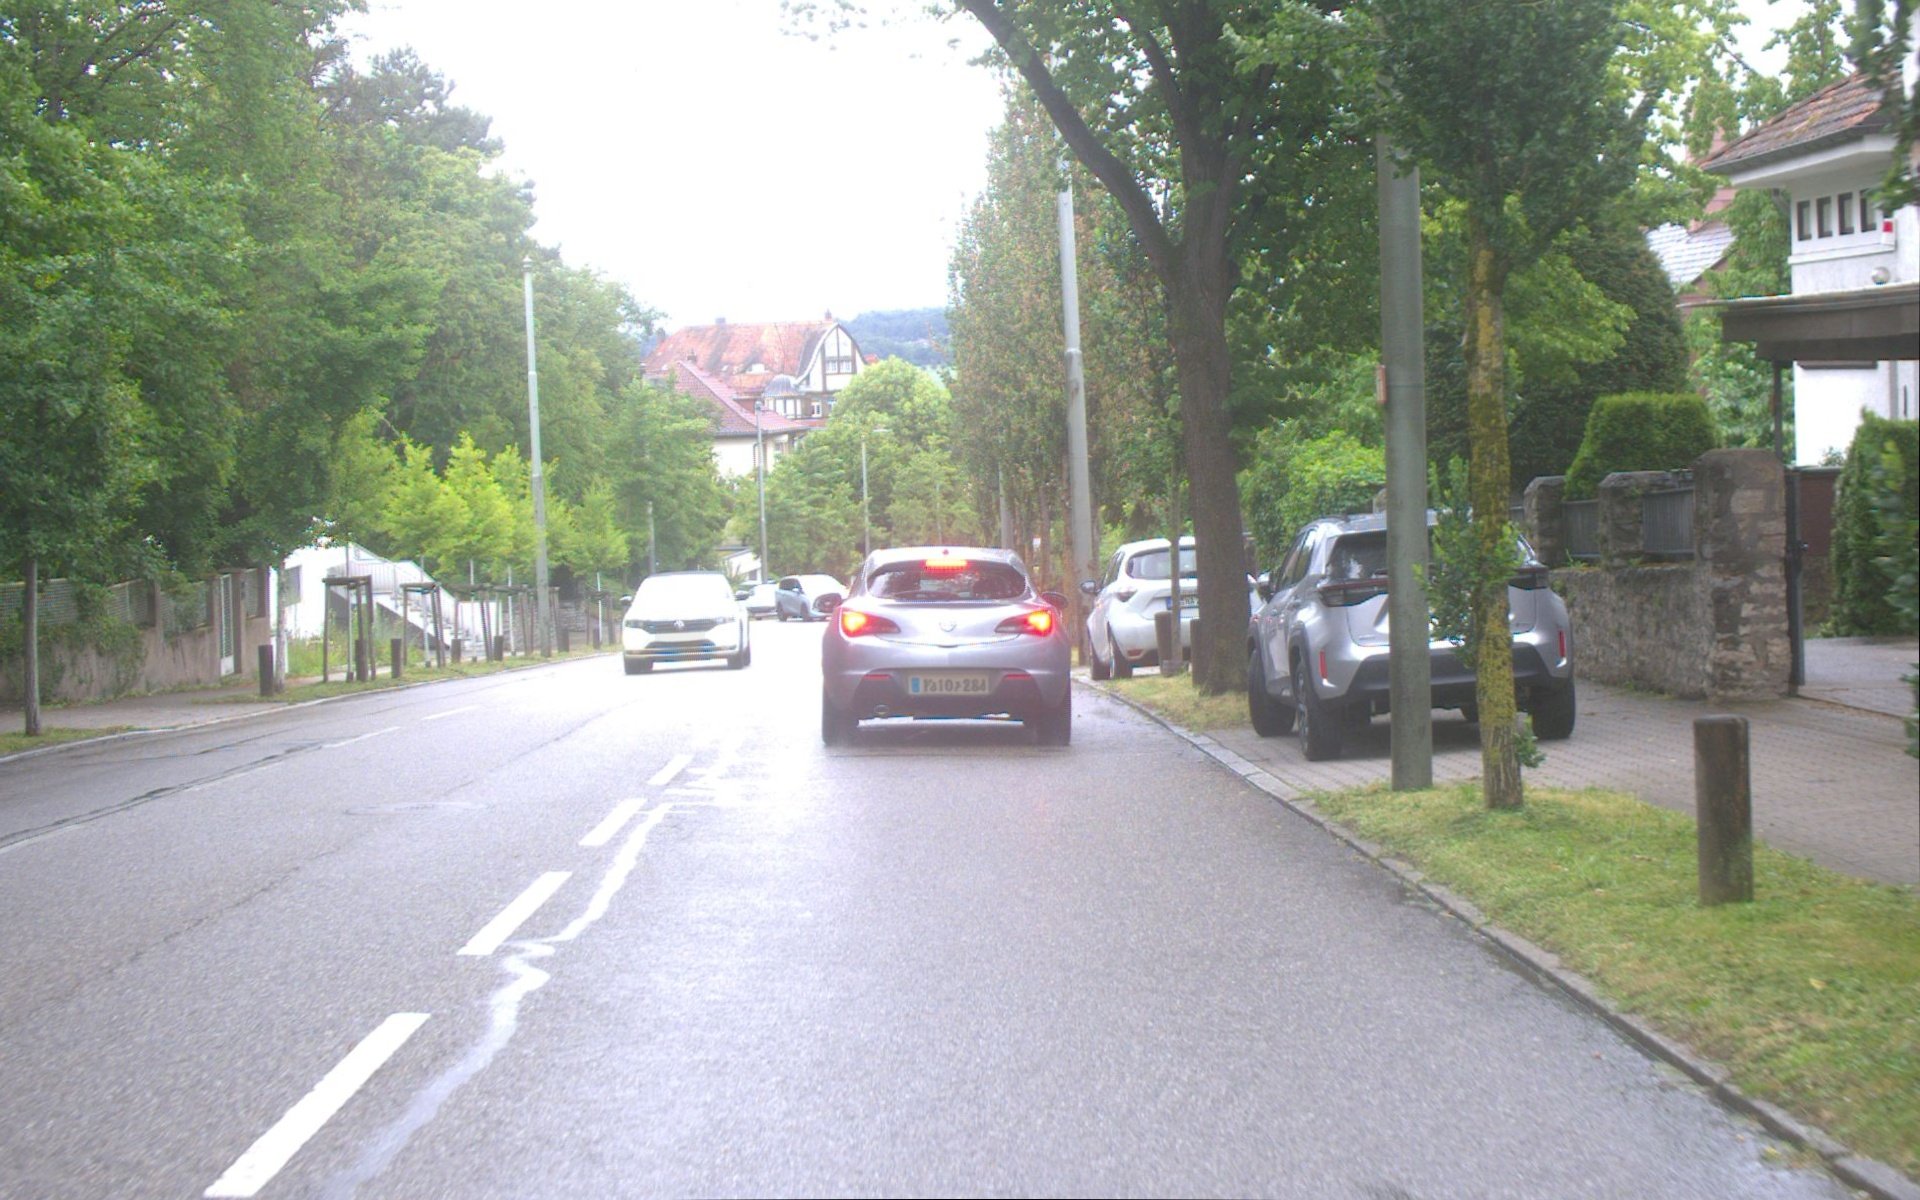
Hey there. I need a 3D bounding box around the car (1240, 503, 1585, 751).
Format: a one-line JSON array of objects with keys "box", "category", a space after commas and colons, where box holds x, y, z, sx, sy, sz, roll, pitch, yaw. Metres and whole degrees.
[{"box": [2.985, 0.112, 23.413, 1.721, 1.459, 4.000, -3, 2, 0], "category": "car"}]

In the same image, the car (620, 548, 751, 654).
[{"box": [-4.175, -0.015, 52.708, 1.721, 1.459, 4.001, 1, 2, -1], "category": "car"}]

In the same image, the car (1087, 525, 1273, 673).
[{"box": [2.414, -0.059, 38.570, 1.721, 1.459, 4.000, -3, 2, 0], "category": "car"}]

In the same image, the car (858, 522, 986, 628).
[{"box": [-0.552, -0.330, 49.378, 1.754, 1.459, 4.000, 0, 0, -1], "category": "car"}]

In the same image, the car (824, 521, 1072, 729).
[{"box": [-0.111, 0.193, 26.419, 1.754, 1.459, 4.000, 0, 0, -1], "category": "car"}]

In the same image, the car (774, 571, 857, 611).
[{"box": [-5.449, -0.329, 129.296, 1.721, 1.459, 4.001, 1, 0, -25], "category": "car"}]
